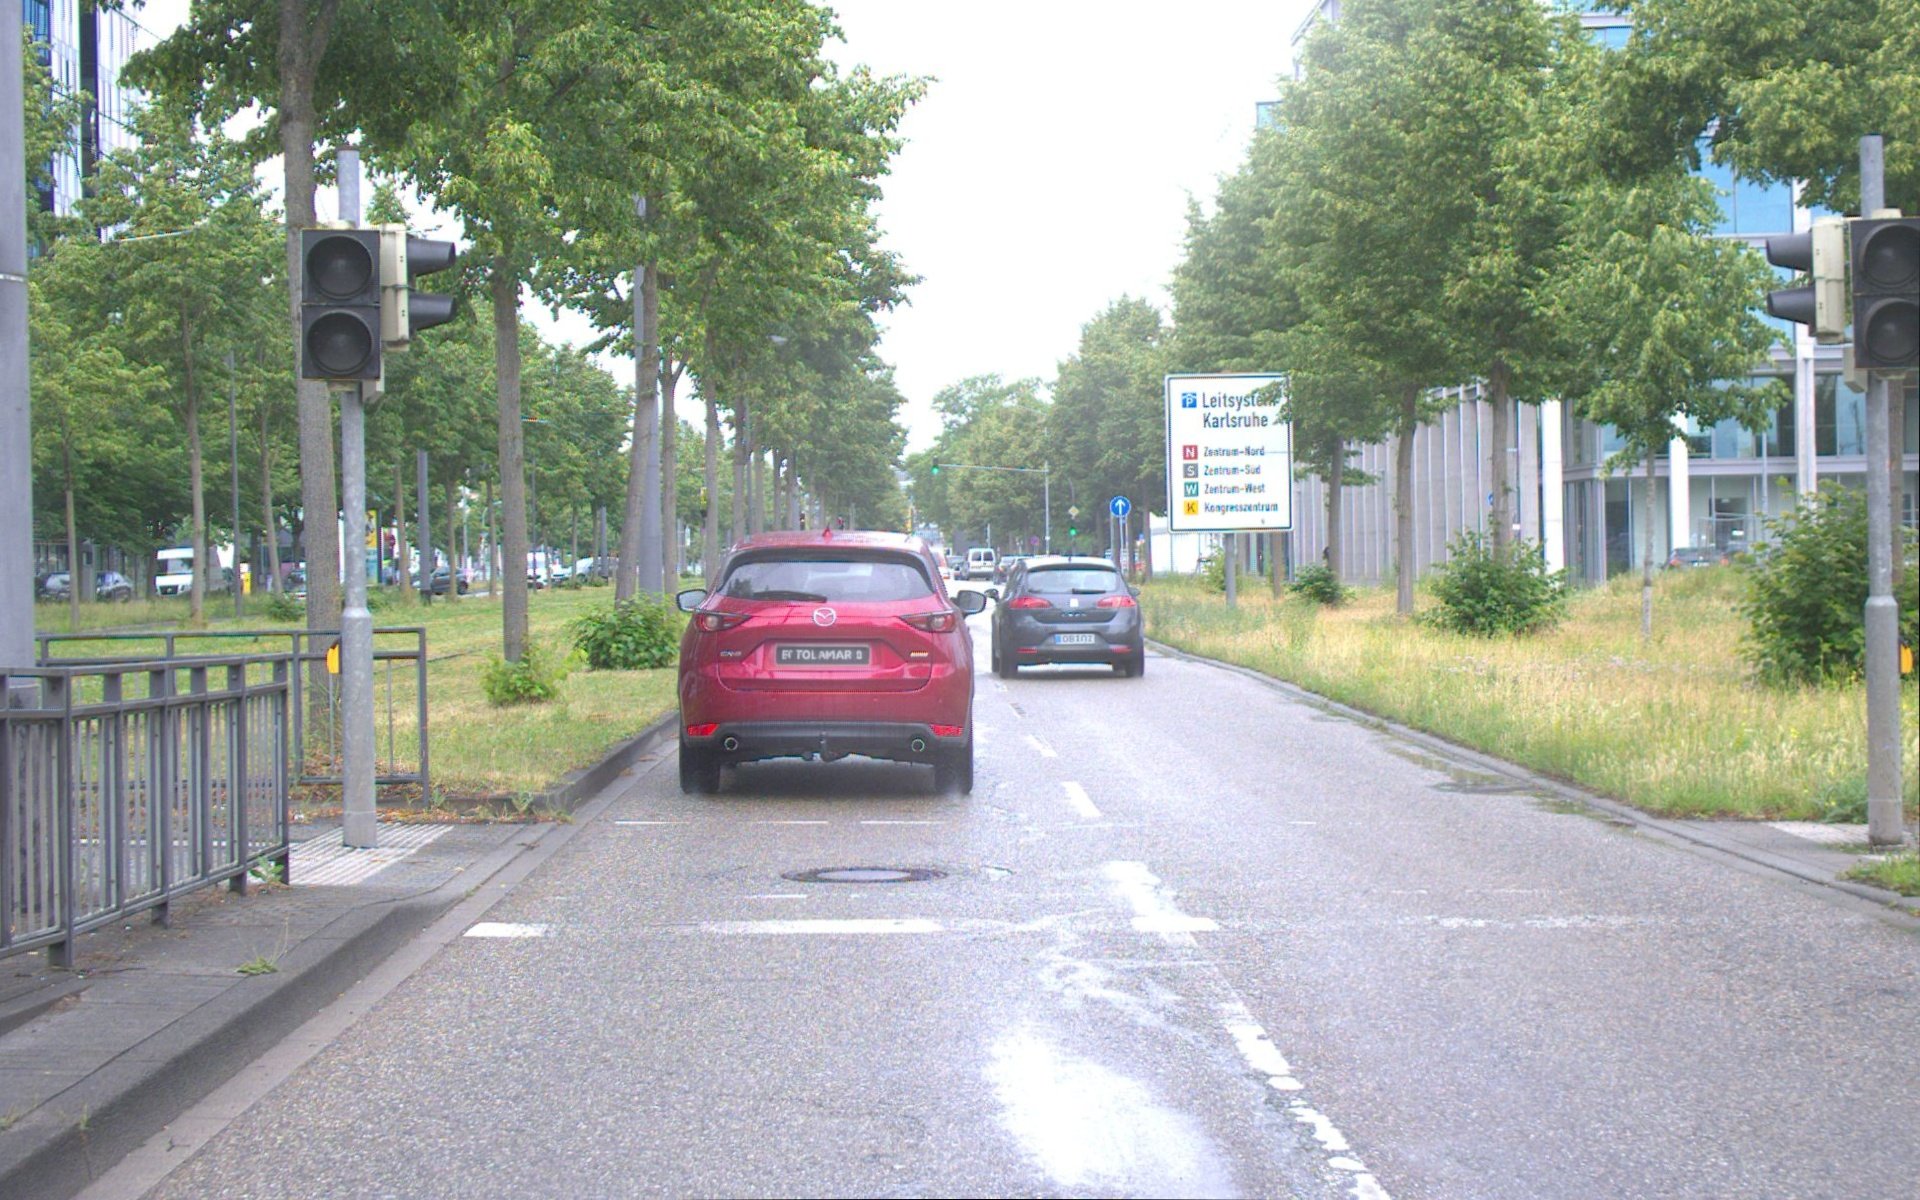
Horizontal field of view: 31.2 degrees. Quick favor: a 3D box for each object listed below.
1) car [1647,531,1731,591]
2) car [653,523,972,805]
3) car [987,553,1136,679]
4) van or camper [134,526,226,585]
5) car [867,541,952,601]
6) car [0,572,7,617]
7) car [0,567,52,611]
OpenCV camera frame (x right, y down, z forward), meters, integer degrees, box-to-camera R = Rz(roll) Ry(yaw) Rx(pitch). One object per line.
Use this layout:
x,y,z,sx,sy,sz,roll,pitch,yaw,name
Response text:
19.743,-1.062,93.220,1.855,1.575,3.999,0,1,6,car
-0.935,0.352,22.564,1.898,1.671,4.000,0,1,-2,car
1.232,0.161,42.193,1.743,1.460,3.781,0,1,1,car
-31.241,-1.791,137.843,2.433,2.307,5.850,-1,1,-1,van or camper
-1.266,-0.726,84.753,1.967,1.432,4.553,1,1,-2,car
-30.538,-0.148,104.624,1.993,1.374,4.000,-1,1,-1,car
-30.923,-0.354,111.398,1.993,1.374,4.000,-1,1,-1,car
